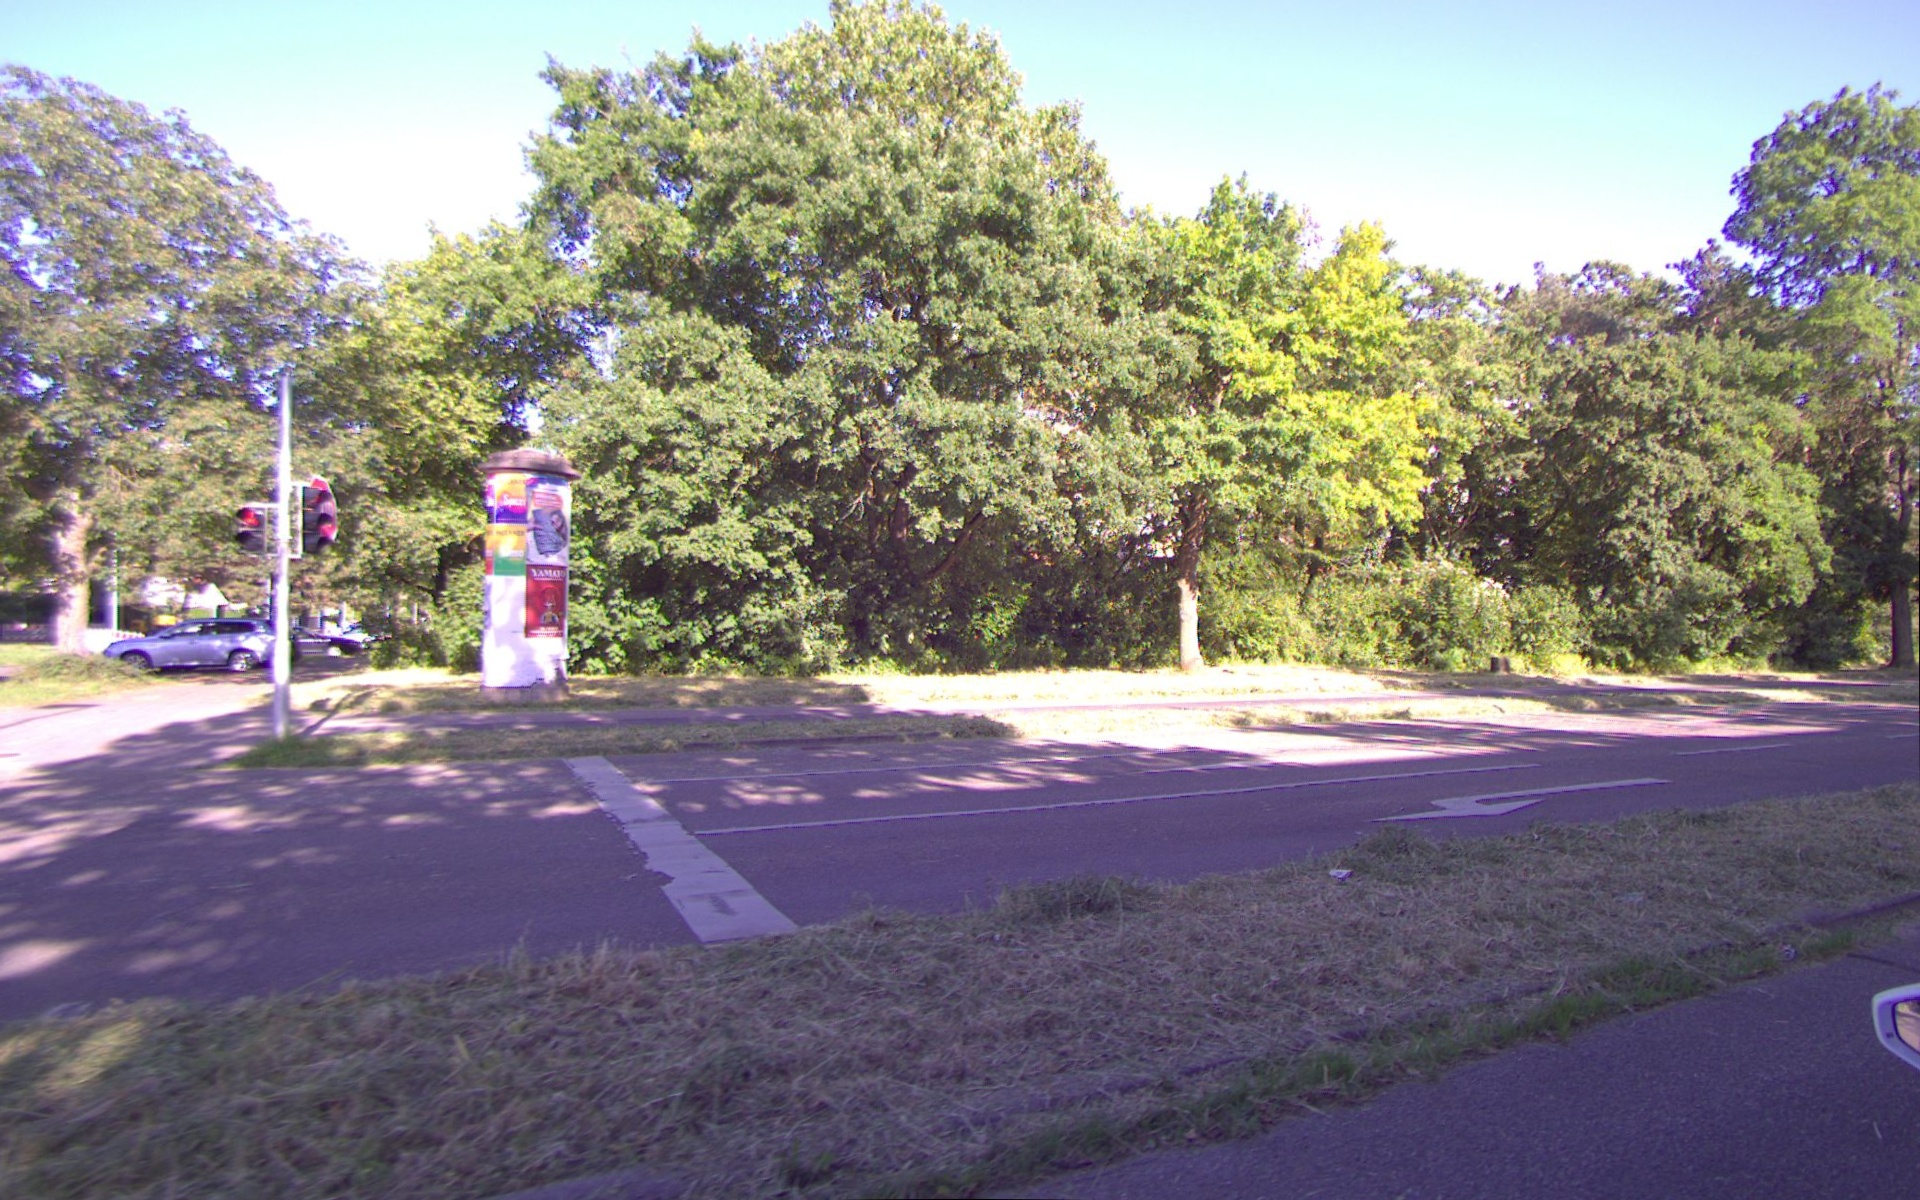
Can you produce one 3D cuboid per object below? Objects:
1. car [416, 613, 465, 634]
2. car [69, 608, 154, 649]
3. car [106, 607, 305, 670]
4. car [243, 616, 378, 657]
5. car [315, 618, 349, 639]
[{"bbox_3d":[-53.505,2.423,103.528,4.255,1.932,1.853,3,-3,-23],"label":"car"},{"bbox_3d":[-41.275,1.388,48.972,1.972,1.839,3.979,3,-2,-23],"label":"car"},{"bbox_3d":[-22.923,1.205,30.725,4.445,1.806,1.846,2,-2,-20],"label":"car"},{"bbox_3d":[-27.457,1.571,42.658,4.445,1.651,1.846,2,-2,-20],"label":"car"},{"bbox_3d":[-58.623,2.639,93.819,1.971,1.839,3.980,3,-3,-22],"label":"car"}]
